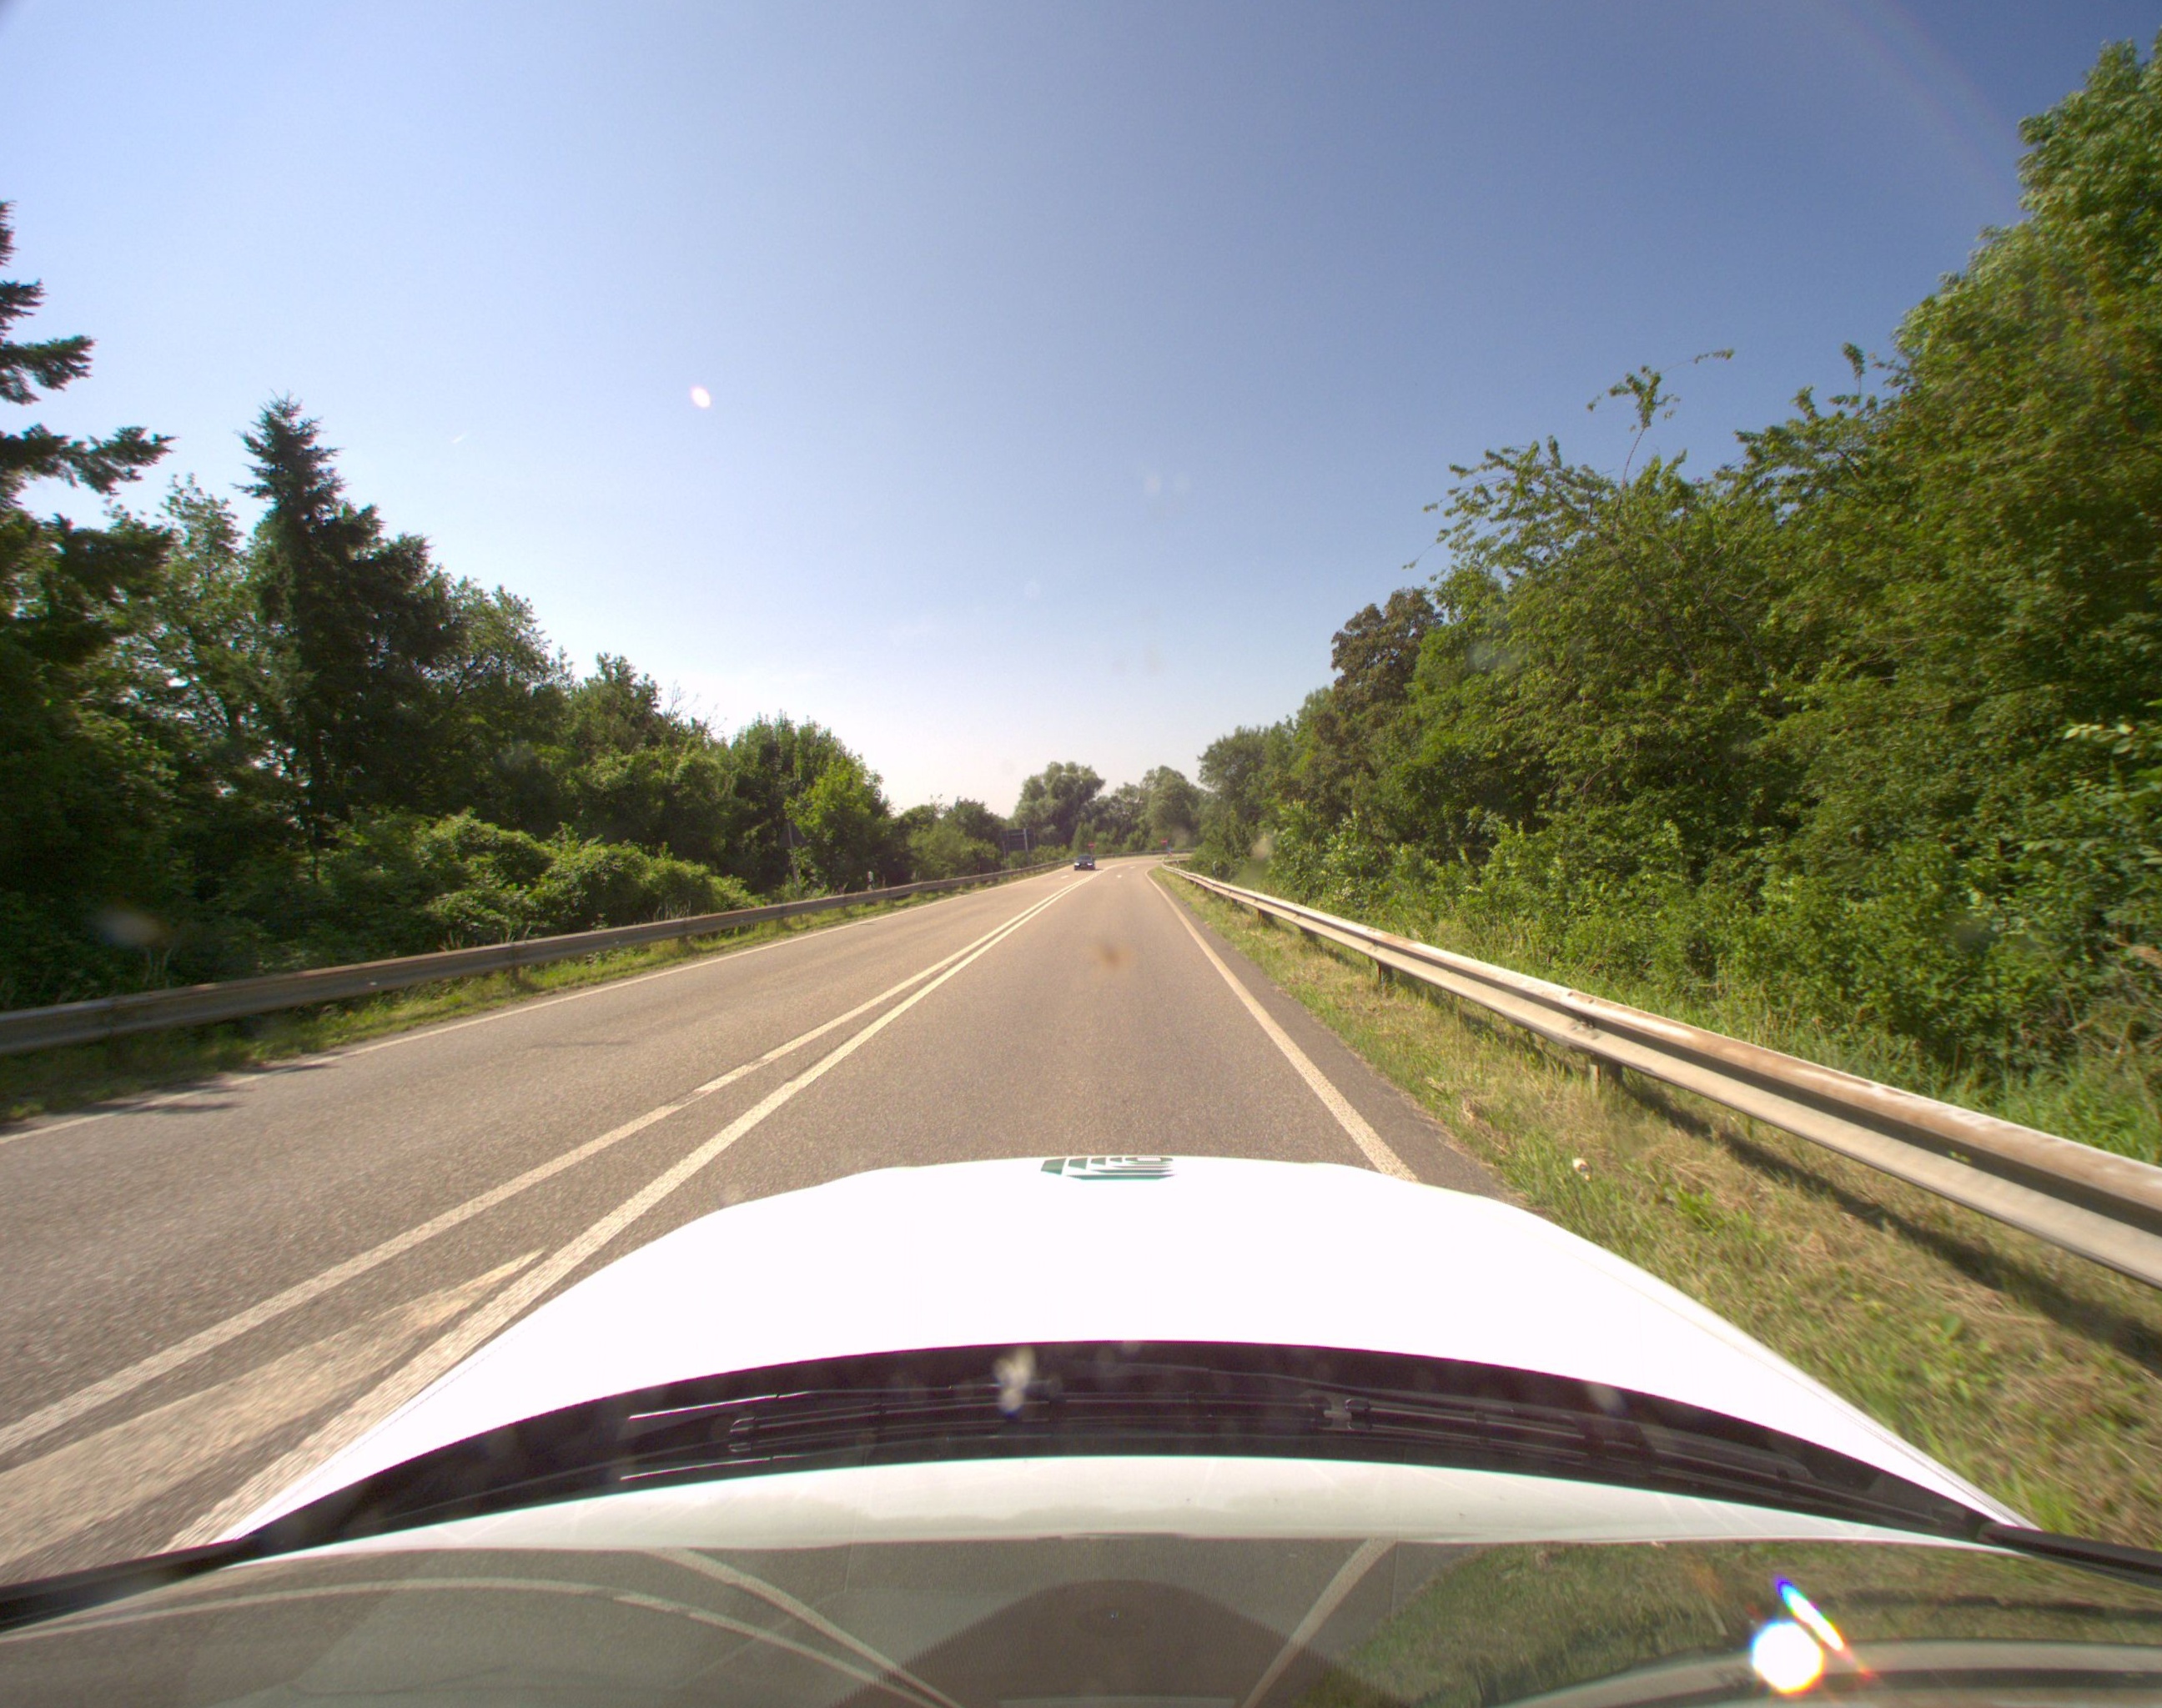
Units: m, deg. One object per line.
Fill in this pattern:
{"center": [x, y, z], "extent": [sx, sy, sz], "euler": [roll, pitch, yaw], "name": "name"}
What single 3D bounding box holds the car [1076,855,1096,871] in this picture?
{"center": [0.467, 0.835, 76.720], "extent": [1.600, 1.473, 4.224], "euler": [-2, 0, 4], "name": "car"}
